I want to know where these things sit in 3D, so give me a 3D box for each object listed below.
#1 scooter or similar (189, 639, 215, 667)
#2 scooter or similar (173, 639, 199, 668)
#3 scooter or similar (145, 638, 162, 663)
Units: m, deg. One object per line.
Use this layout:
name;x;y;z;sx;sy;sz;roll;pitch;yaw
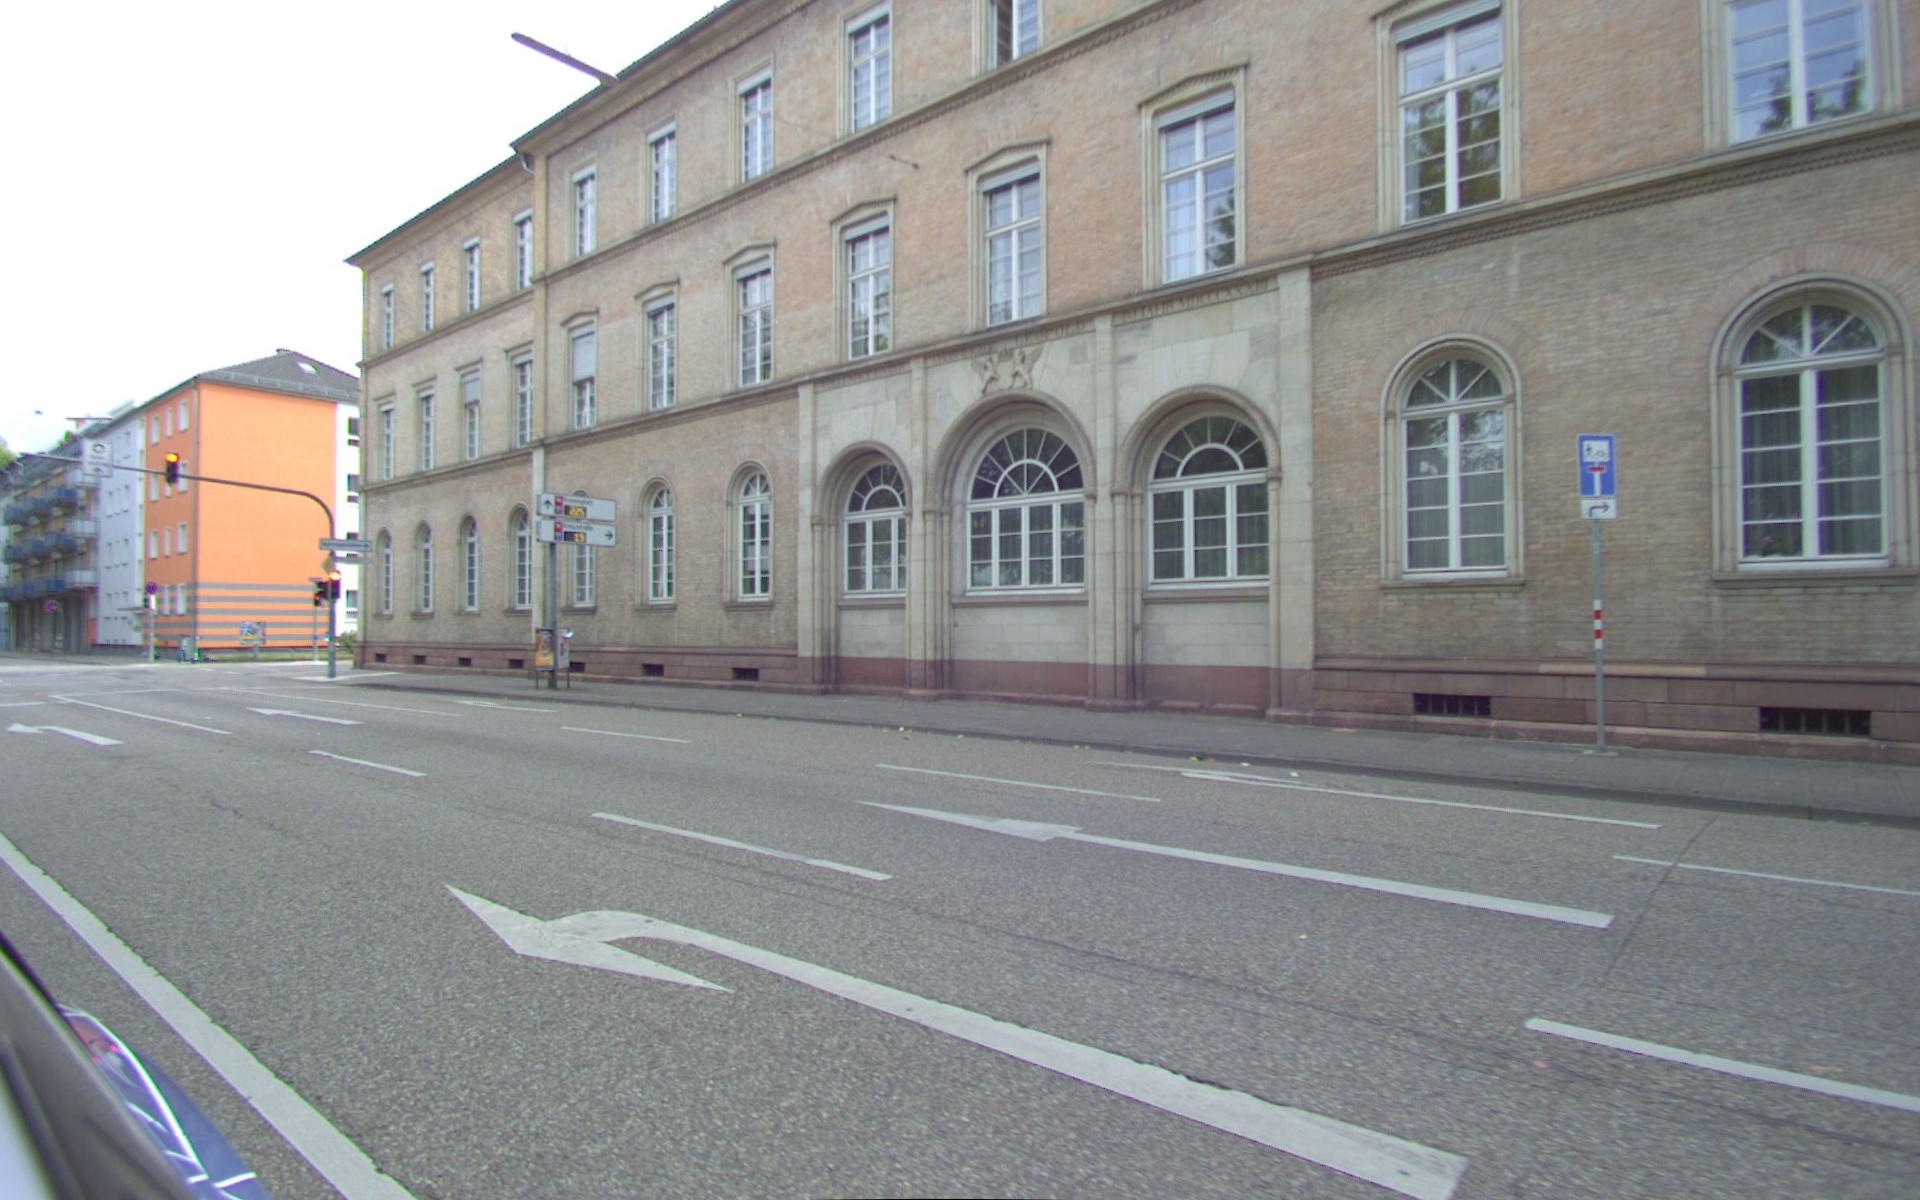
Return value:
scooter or similar;-32.236;2.238;43.055;1.347;1.166;0.327;-2;-1;27
scooter or similar;-32.550;2.252;42.552;1.336;1.188;0.327;-2;-1;27
scooter or similar;-37.326;2.313;46.828;1.353;1.133;0.365;-2;-1;41
